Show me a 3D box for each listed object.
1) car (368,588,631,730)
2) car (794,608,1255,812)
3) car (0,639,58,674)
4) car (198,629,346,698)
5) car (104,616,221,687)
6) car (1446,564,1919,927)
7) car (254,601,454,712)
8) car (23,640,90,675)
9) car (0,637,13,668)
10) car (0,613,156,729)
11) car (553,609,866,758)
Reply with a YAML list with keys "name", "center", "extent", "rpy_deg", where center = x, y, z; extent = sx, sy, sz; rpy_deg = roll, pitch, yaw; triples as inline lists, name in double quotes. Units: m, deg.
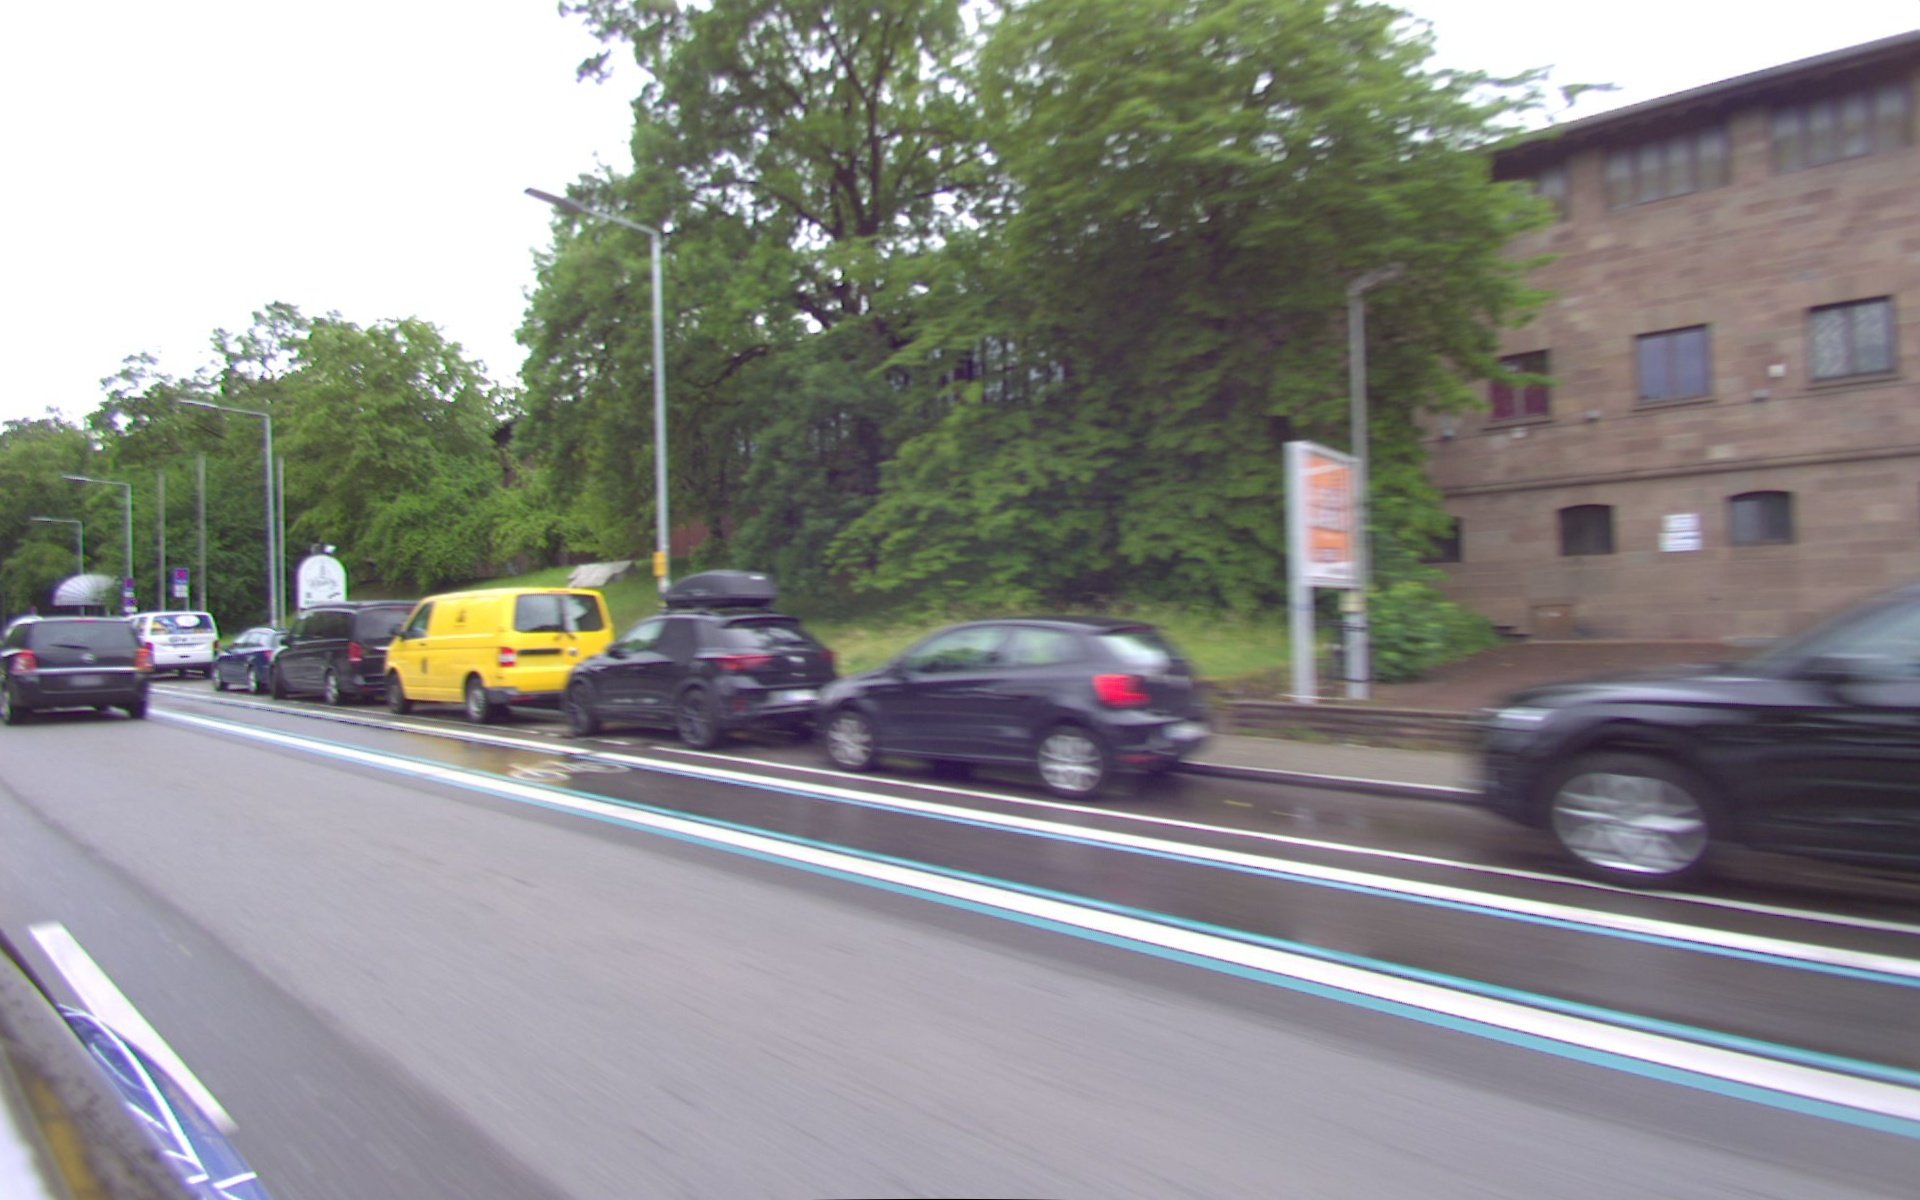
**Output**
- name: "car"
  center: [-7.428, 0.882, 16.070]
  extent: [4.841, 1.928, 1.973]
  rpy_deg: [-2, -2, 41]
- name: "car"
  center: [0.417, 0.856, 9.198]
  extent: [4.035, 1.457, 1.591]
  rpy_deg: [-2, -2, 41]
- name: "car"
  center: [-43.136, 2.565, 46.552]
  extent: [4.323, 1.479, 1.773]
  rpy_deg: [-2, -2, 39]
- name: "car"
  center: [-16.242, 1.455, 23.810]
  extent: [4.607, 1.470, 1.667]
  rpy_deg: [-2, -2, 40]
- name: "car"
  center: [-24.159, 1.519, 30.598]
  extent: [4.730, 1.992, 1.853]
  rpy_deg: [-2, -2, 40]
- name: "car"
  center: [5.167, 0.648, 5.009]
  extent: [4.659, 1.628, 1.805]
  rpy_deg: [-2, -2, 40]
- name: "car"
  center: [-12.109, 1.073, 20.064]
  extent: [5.200, 1.935, 1.857]
  rpy_deg: [-2, -3, 41]
- name: "car"
  center: [-37.926, 2.391, 42.441]
  extent: [3.583, 1.382, 1.658]
  rpy_deg: [-2, -2, 41]
- name: "car"
  center: [-56.575, 3.102, 58.849]
  extent: [3.997, 1.779, 1.799]
  rpy_deg: [-4, -3, 41]
- name: "car"
  center: [-14.477, 1.085, 16.242]
  extent: [4.147, 1.630, 1.693]
  rpy_deg: [-3, -3, 41]
- name: "car"
  center: [-3.182, 0.919, 12.372]
  extent: [4.149, 1.516, 1.691]
  rpy_deg: [-2, -2, 42]
